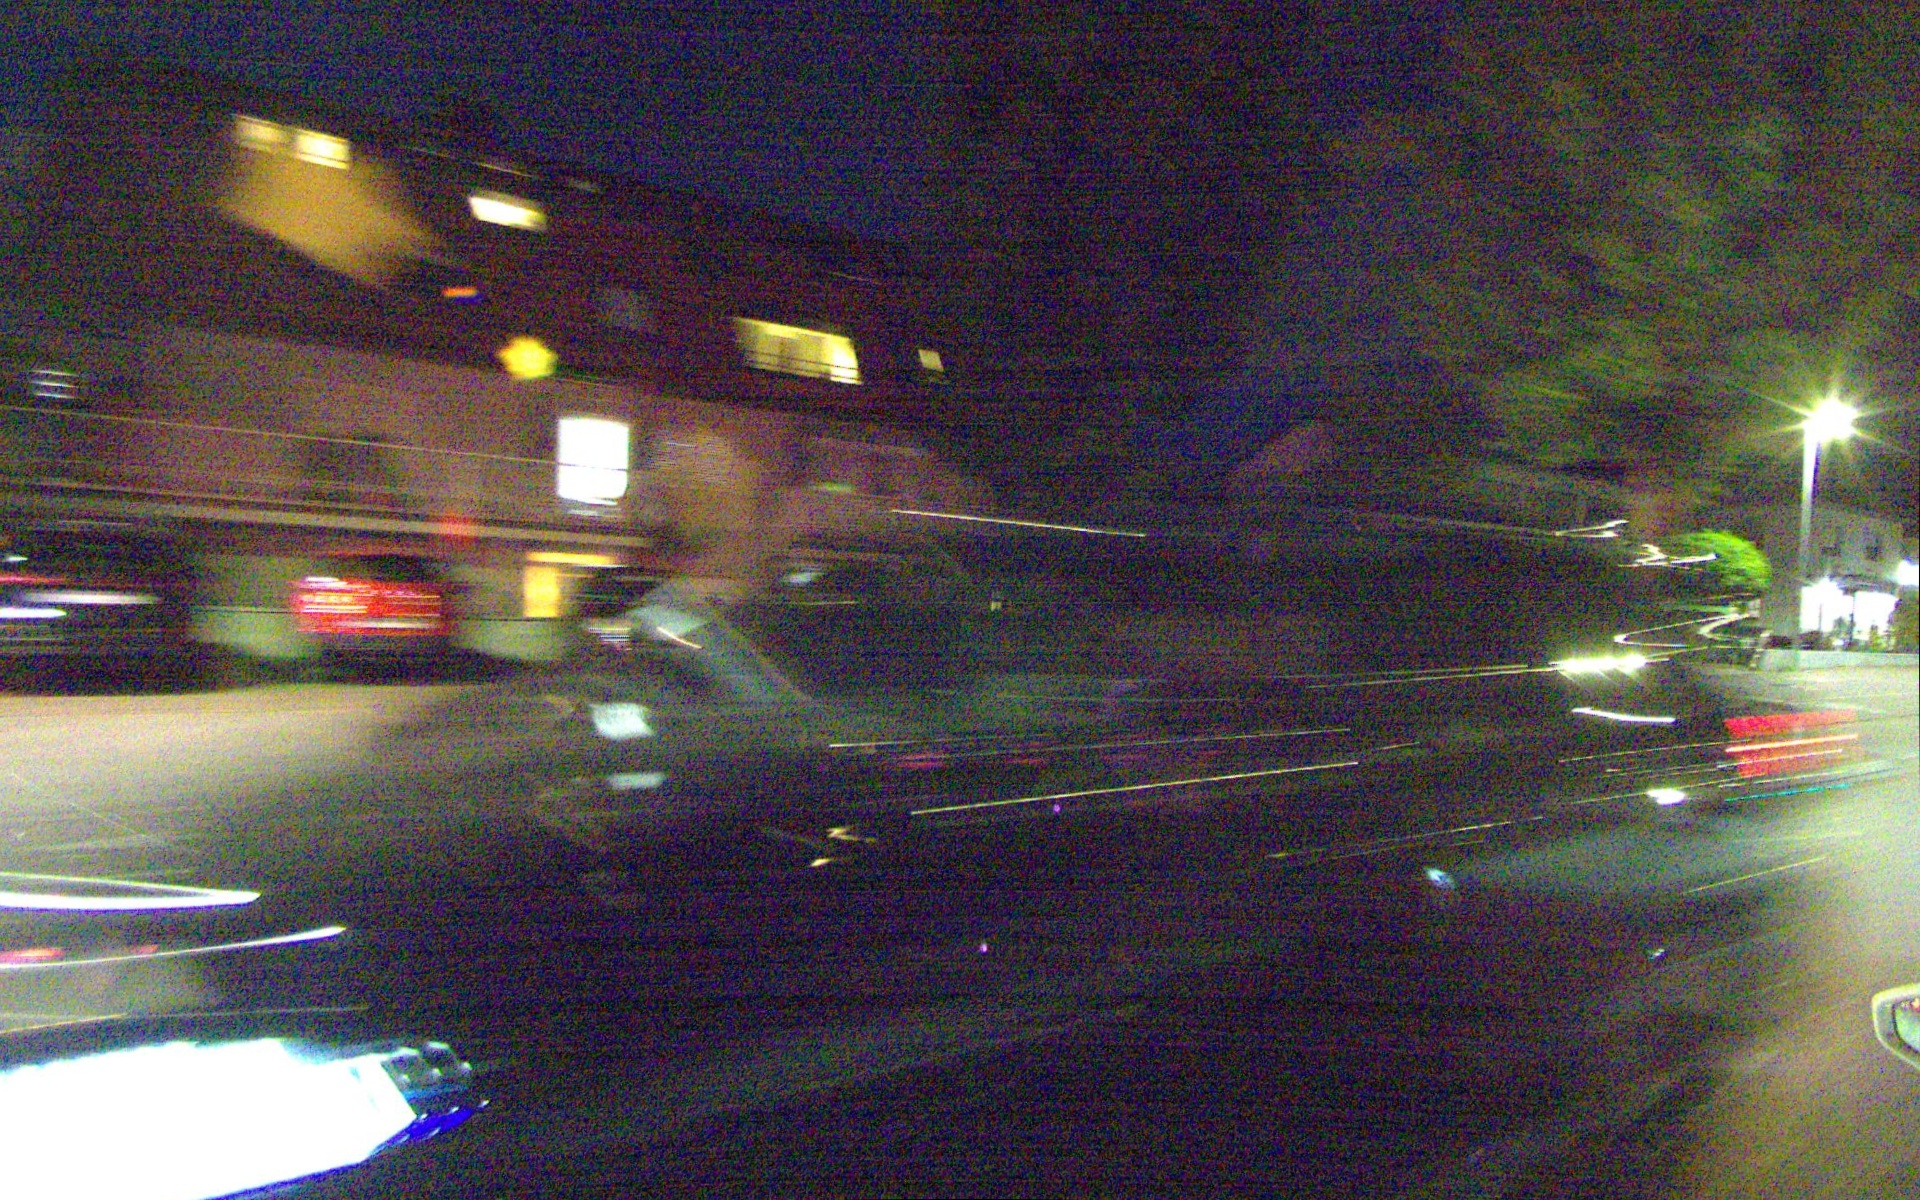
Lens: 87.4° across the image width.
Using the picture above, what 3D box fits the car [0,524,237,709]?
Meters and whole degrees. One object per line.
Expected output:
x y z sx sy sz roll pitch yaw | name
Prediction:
-8.999 0.096 10.702 2.011 1.582 4.280 1 1 -37 | car

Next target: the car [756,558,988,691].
-1.467 0.354 15.010 1.976 1.684 4.098 1 -1 -29 | car

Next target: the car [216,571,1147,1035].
-1.159 0.678 5.043 3.964 1.488 1.740 1 2 -32 | car

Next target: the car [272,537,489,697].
-7.026 0.154 12.512 1.974 1.639 3.972 1 1 -27 | car

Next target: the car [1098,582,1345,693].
4.535 0.634 17.881 1.930 1.725 3.958 1 -2 -37 | car

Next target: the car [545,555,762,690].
-4.183 0.281 13.270 1.976 1.483 3.970 1 -1 -29 | car

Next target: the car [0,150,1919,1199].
0.491 0.556 2.690 4.504 1.771 1.993 2 1 -30 | car
